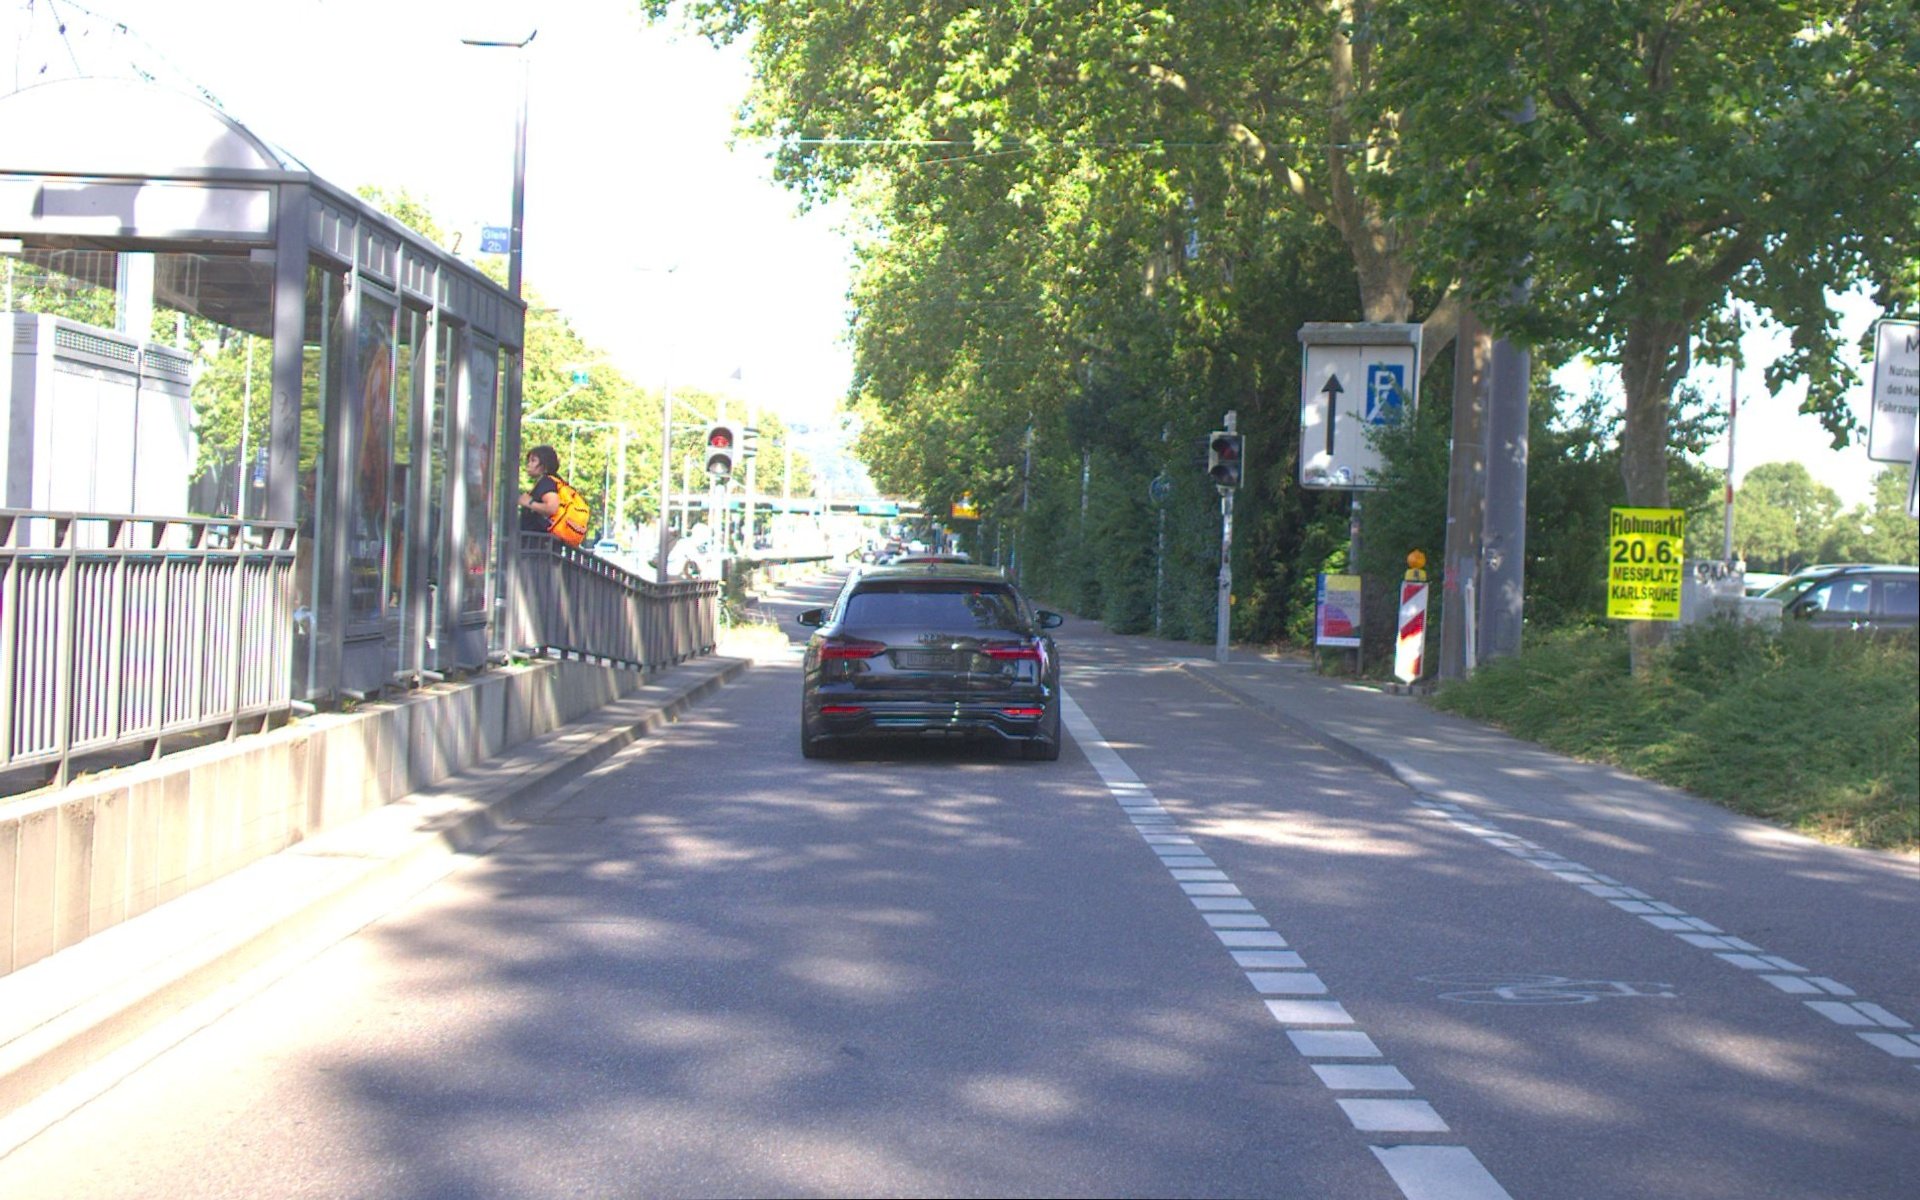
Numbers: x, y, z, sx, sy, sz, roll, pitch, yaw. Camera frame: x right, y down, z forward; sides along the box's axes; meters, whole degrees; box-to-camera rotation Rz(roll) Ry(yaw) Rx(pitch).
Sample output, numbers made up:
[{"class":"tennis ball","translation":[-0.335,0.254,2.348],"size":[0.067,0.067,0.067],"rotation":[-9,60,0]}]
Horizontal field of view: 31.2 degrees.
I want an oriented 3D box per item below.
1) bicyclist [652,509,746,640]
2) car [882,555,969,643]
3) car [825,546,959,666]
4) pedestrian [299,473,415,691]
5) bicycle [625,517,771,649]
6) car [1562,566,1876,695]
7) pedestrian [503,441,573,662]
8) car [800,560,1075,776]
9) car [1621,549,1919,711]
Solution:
[{"class":"bicyclist","translation":[-3.505,-0.345,46.114],"size":[0.770,1.711,0.907],"rotation":[3,1,45]},{"class":"car","translation":[-0.854,-0.039,84.189],"size":[1.993,2.007,4.000],"rotation":[2,1,-1]},{"class":"car","translation":[-1.039,0.051,50.522],"size":[1.762,1.614,4.001],"rotation":[2,1,-3]},{"class":"pedestrian","translation":[-3.683,-0.111,21.013],"size":[0.567,1.288,0.500],"rotation":[3,1,-1]},{"class":"bicycle","translation":[-3.506,-0.217,46.107],"size":[0.591,1.711,1.968],"rotation":[3,1,45]},{"class":"car","translation":[9.668,0.376,43.958],"size":[3.594,1.457,1.678],"rotation":[2,1,0]},{"class":"pedestrian","translation":[-3.339,-0.382,27.227],"size":[0.412,1.711,0.666],"rotation":[3,1,-1]},{"class":"car","translation":[-0.235,0.458,25.657],"size":[1.878,1.452,3.357],"rotation":[1,1,-3]},{"class":"car","translation":[10.087,0.354,41.000],"size":[3.987,1.758,1.833],"rotation":[2,1,0]}]
